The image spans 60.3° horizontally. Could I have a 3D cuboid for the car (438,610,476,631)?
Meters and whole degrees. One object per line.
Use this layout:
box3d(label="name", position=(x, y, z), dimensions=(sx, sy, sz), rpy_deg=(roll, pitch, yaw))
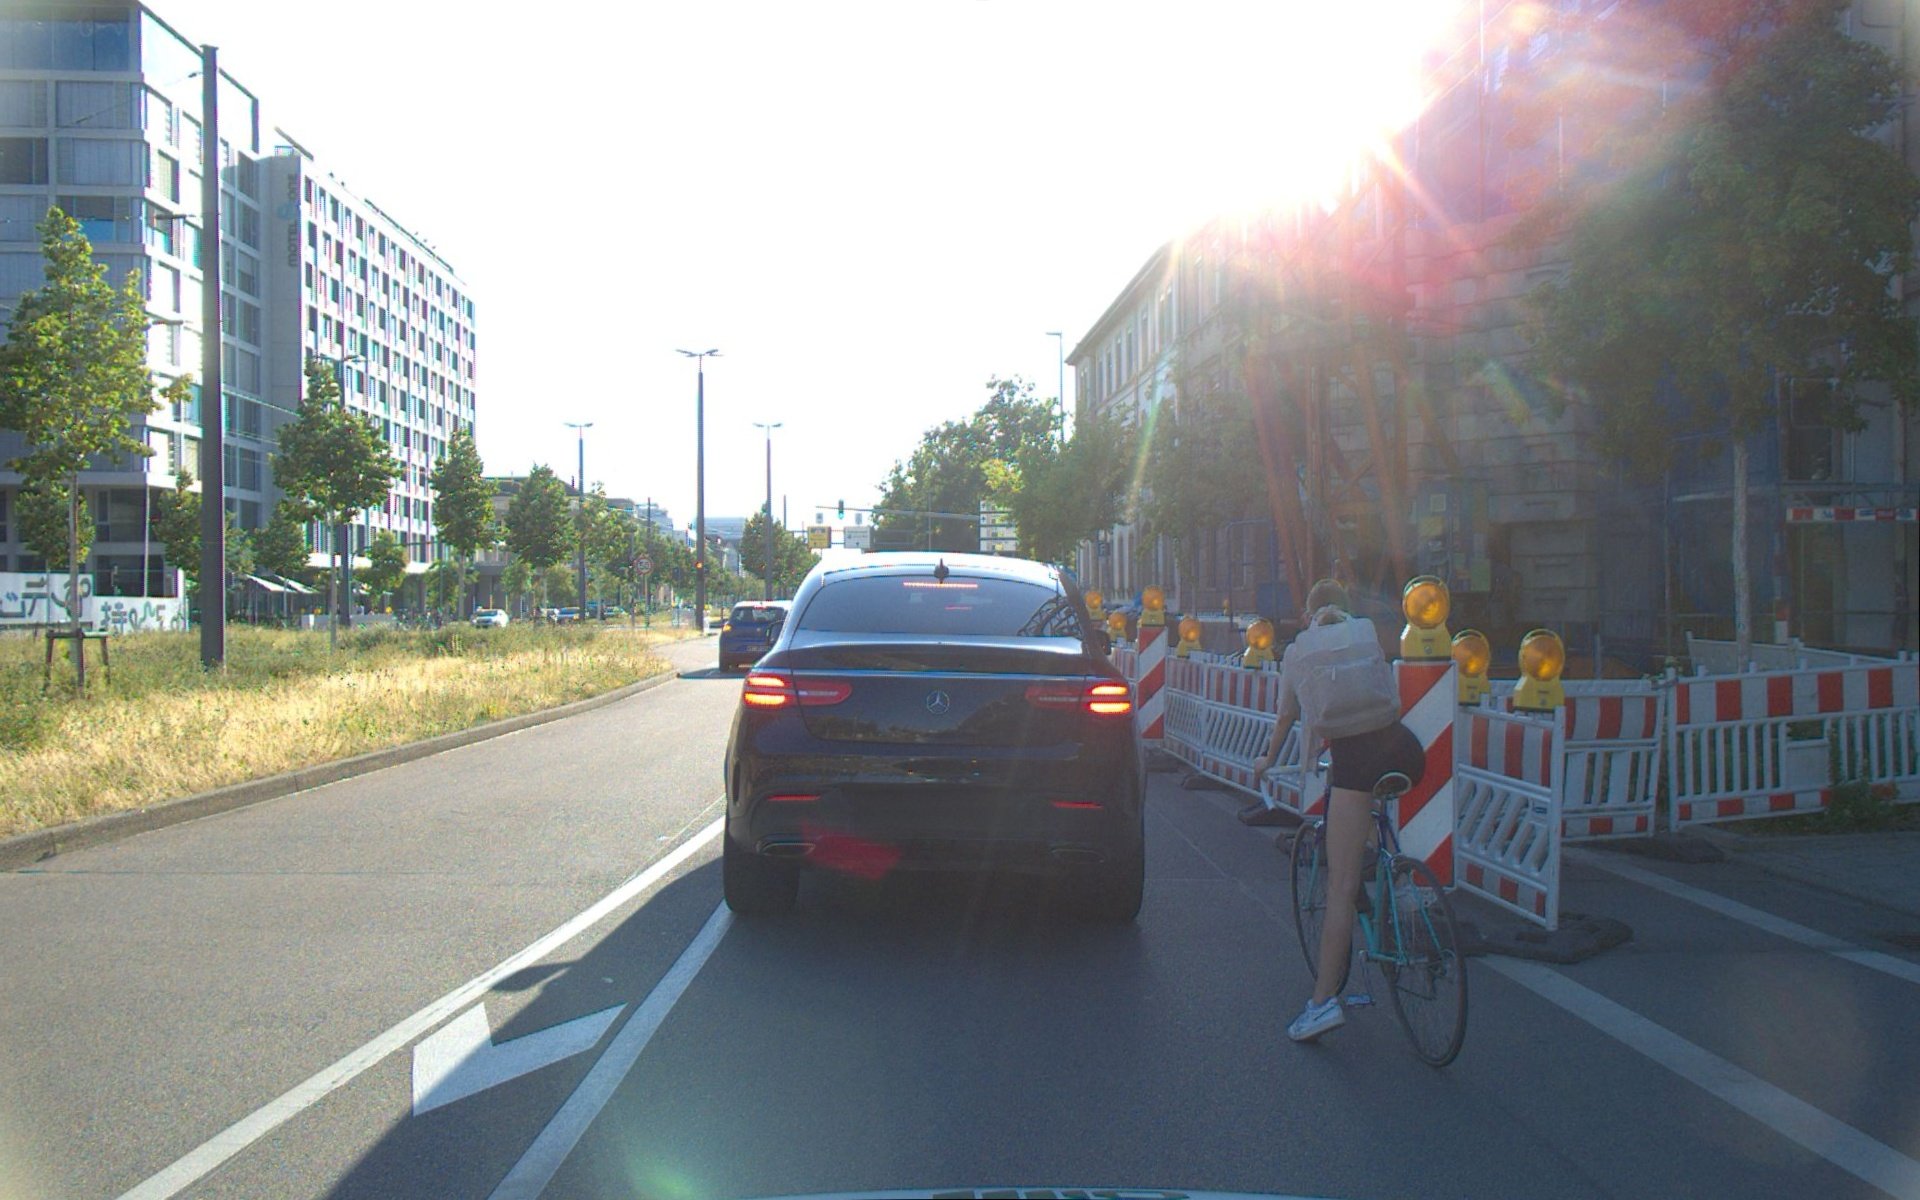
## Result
box3d(label="car", position=(-35.078, 1.419, 115.417), dimensions=(1.674, 1.467, 3.580), rpy_deg=(1, 0, -3))

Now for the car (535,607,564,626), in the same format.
box3d(label="car", position=(-33.477, 1.350, 134.949), dimensions=(1.674, 1.467, 3.580), rpy_deg=(1, 0, -3))

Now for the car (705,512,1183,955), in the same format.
box3d(label="car", position=(-0.089, 0.563, 8.848), dimensions=(1.953, 1.803, 3.999), rpy_deg=(1, 0, -1))

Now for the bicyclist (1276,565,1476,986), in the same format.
box3d(label="bicyclist", position=(1.467, 0.596, 5.899), dimensions=(0.512, 1.420, 0.614), rpy_deg=(1, -1, -4))

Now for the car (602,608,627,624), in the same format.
box3d(label="car", position=(-31.960, 1.449, 153.039), dimensions=(1.674, 1.467, 3.580), rpy_deg=(1, 0, -3))

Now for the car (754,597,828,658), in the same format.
box3d(label="car", position=(-4.310, 0.682, 42.625), dimensions=(1.674, 1.467, 3.580), rpy_deg=(1, 0, -3))

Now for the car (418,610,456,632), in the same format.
box3d(label="car", position=(-36.968, 1.474, 117.003), dimensions=(1.674, 1.467, 3.580), rpy_deg=(1, 0, -3))

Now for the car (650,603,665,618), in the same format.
box3d(label="car", position=(-42.952, 1.481, 234.659), dimensions=(1.959, 2.049, 3.987), rpy_deg=(1, 0, -13))

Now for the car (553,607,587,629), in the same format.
box3d(label="car", position=(-27.327, 1.241, 115.866), dimensions=(1.674, 1.467, 3.580), rpy_deg=(1, 0, -3))

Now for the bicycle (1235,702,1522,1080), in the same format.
box3d(label="bicycle", position=(1.449, 0.962, 6.017), dimensions=(0.502, 1.070, 1.724), rpy_deg=(1, 0, -3))

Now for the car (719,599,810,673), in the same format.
box3d(label="car", position=(-4.118, 0.733, 35.284), dimensions=(1.674, 1.467, 3.580), rpy_deg=(1, 0, -3))

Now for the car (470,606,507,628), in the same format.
box3d(label="car", position=(-32.746, 1.147, 115.022), dimensions=(1.674, 1.467, 3.580), rpy_deg=(1, 0, -3))
